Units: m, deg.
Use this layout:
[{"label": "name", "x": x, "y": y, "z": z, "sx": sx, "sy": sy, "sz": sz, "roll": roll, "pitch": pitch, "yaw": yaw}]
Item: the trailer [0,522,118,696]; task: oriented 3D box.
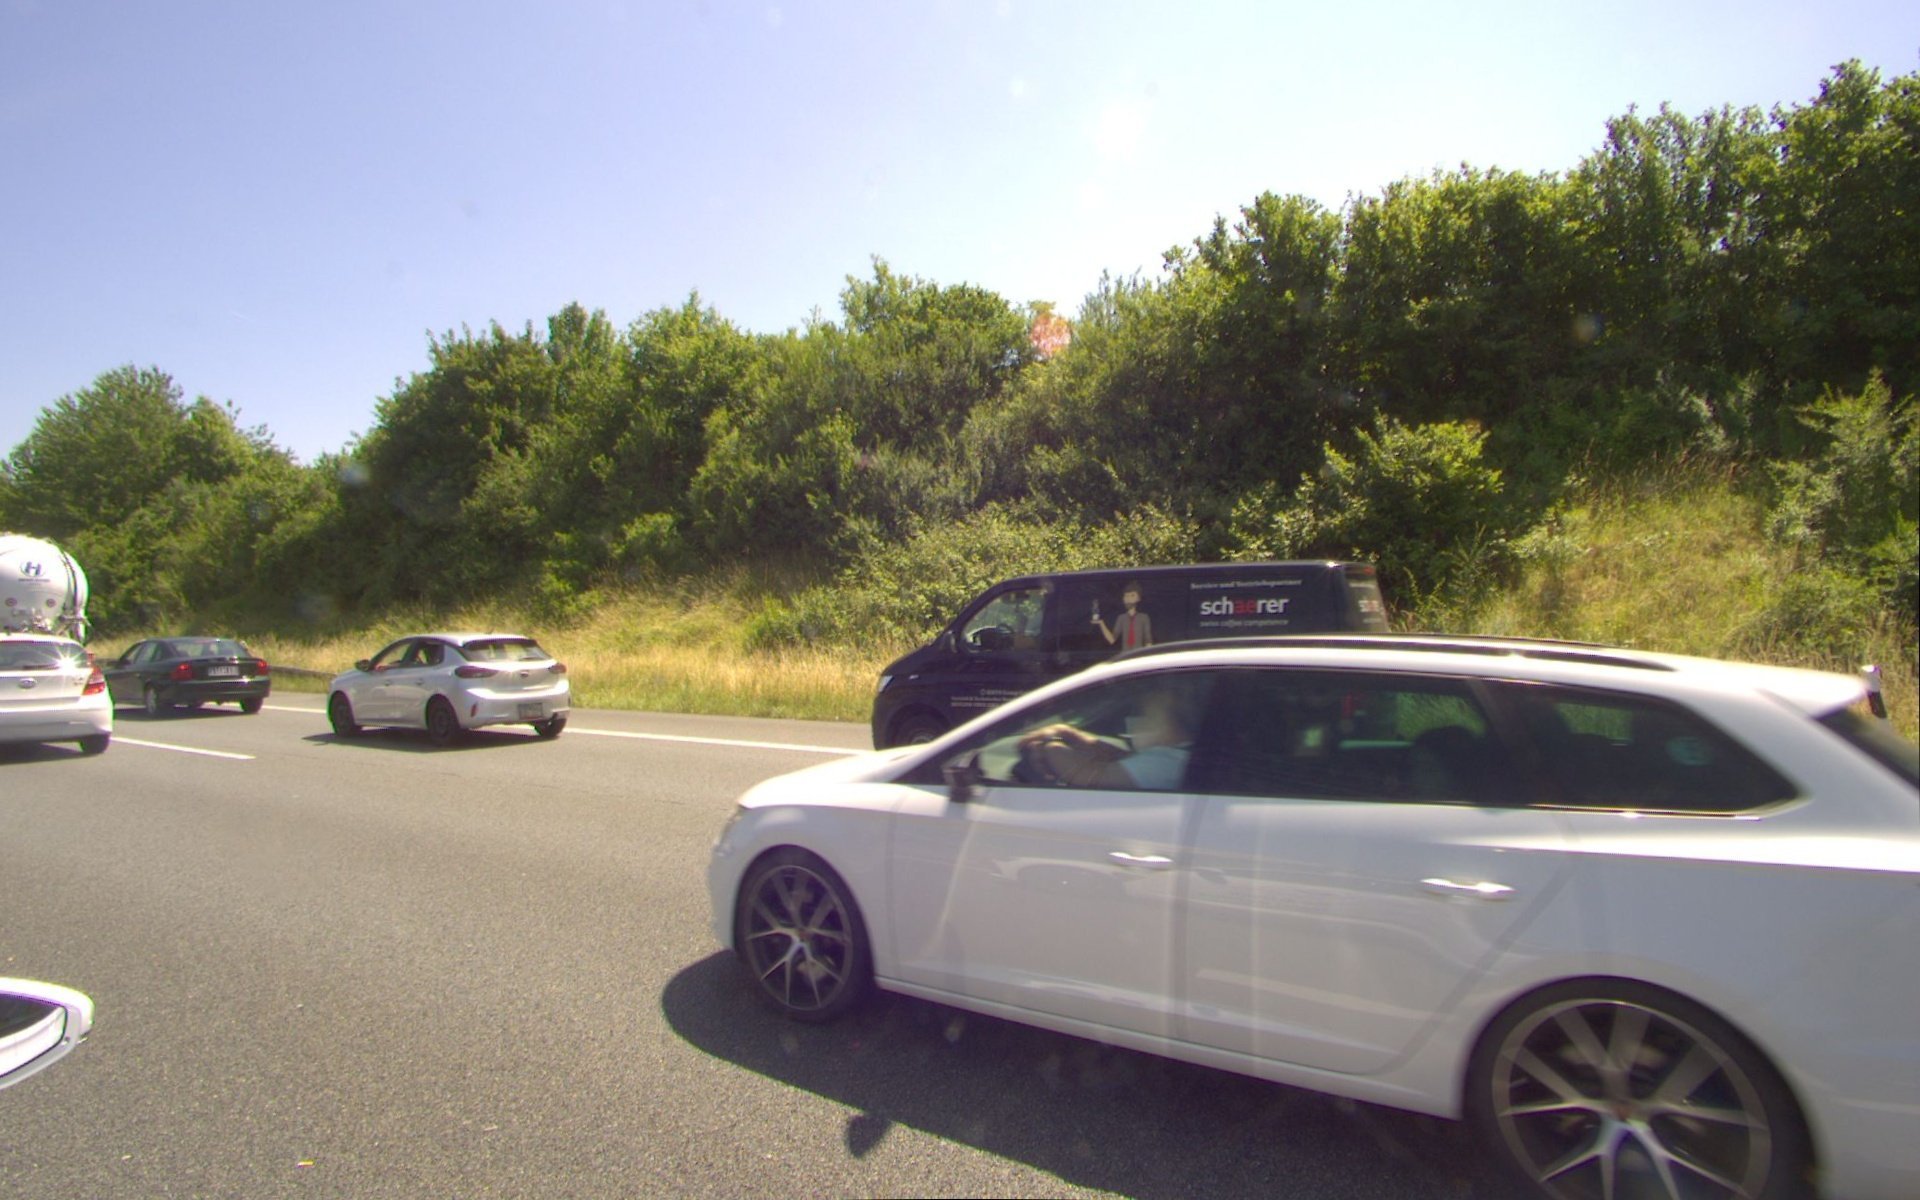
[{"label": "trailer", "x": -25.884, "y": 0.313, "z": 26.100, "sx": 11.323, "sy": 3.895, "sz": 2.755, "roll": -1, "pitch": -1, "yaw": 32}]

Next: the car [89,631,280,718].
[{"label": "car", "x": -14.603, "y": 1.347, "z": 18.808, "sx": 3.934, "sy": 1.435, "sz": 1.637, "roll": -2, "pitch": 0, "yaw": 34}]

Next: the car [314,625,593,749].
[{"label": "car", "x": -7.139, "y": 1.109, "z": 14.027, "sx": 3.971, "sy": 1.462, "sz": 1.727, "roll": 0, "pitch": 0, "yaw": 33}]

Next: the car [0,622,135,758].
[{"label": "car", "x": -12.156, "y": 1.075, "z": 12.509, "sx": 3.946, "sy": 1.504, "sz": 1.812, "roll": -2, "pitch": -1, "yaw": 34}]

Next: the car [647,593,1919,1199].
[{"label": "car", "x": 0.967, "y": 0.778, "z": 3.661, "sx": 4.254, "sy": 1.462, "sz": 1.743, "roll": -2, "pitch": -1, "yaw": 34}]

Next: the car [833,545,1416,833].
[{"label": "car", "x": 1.317, "y": 0.687, "z": 8.970, "sx": 4.790, "sy": 1.965, "sz": 1.909, "roll": -2, "pitch": -1, "yaw": 34}]
